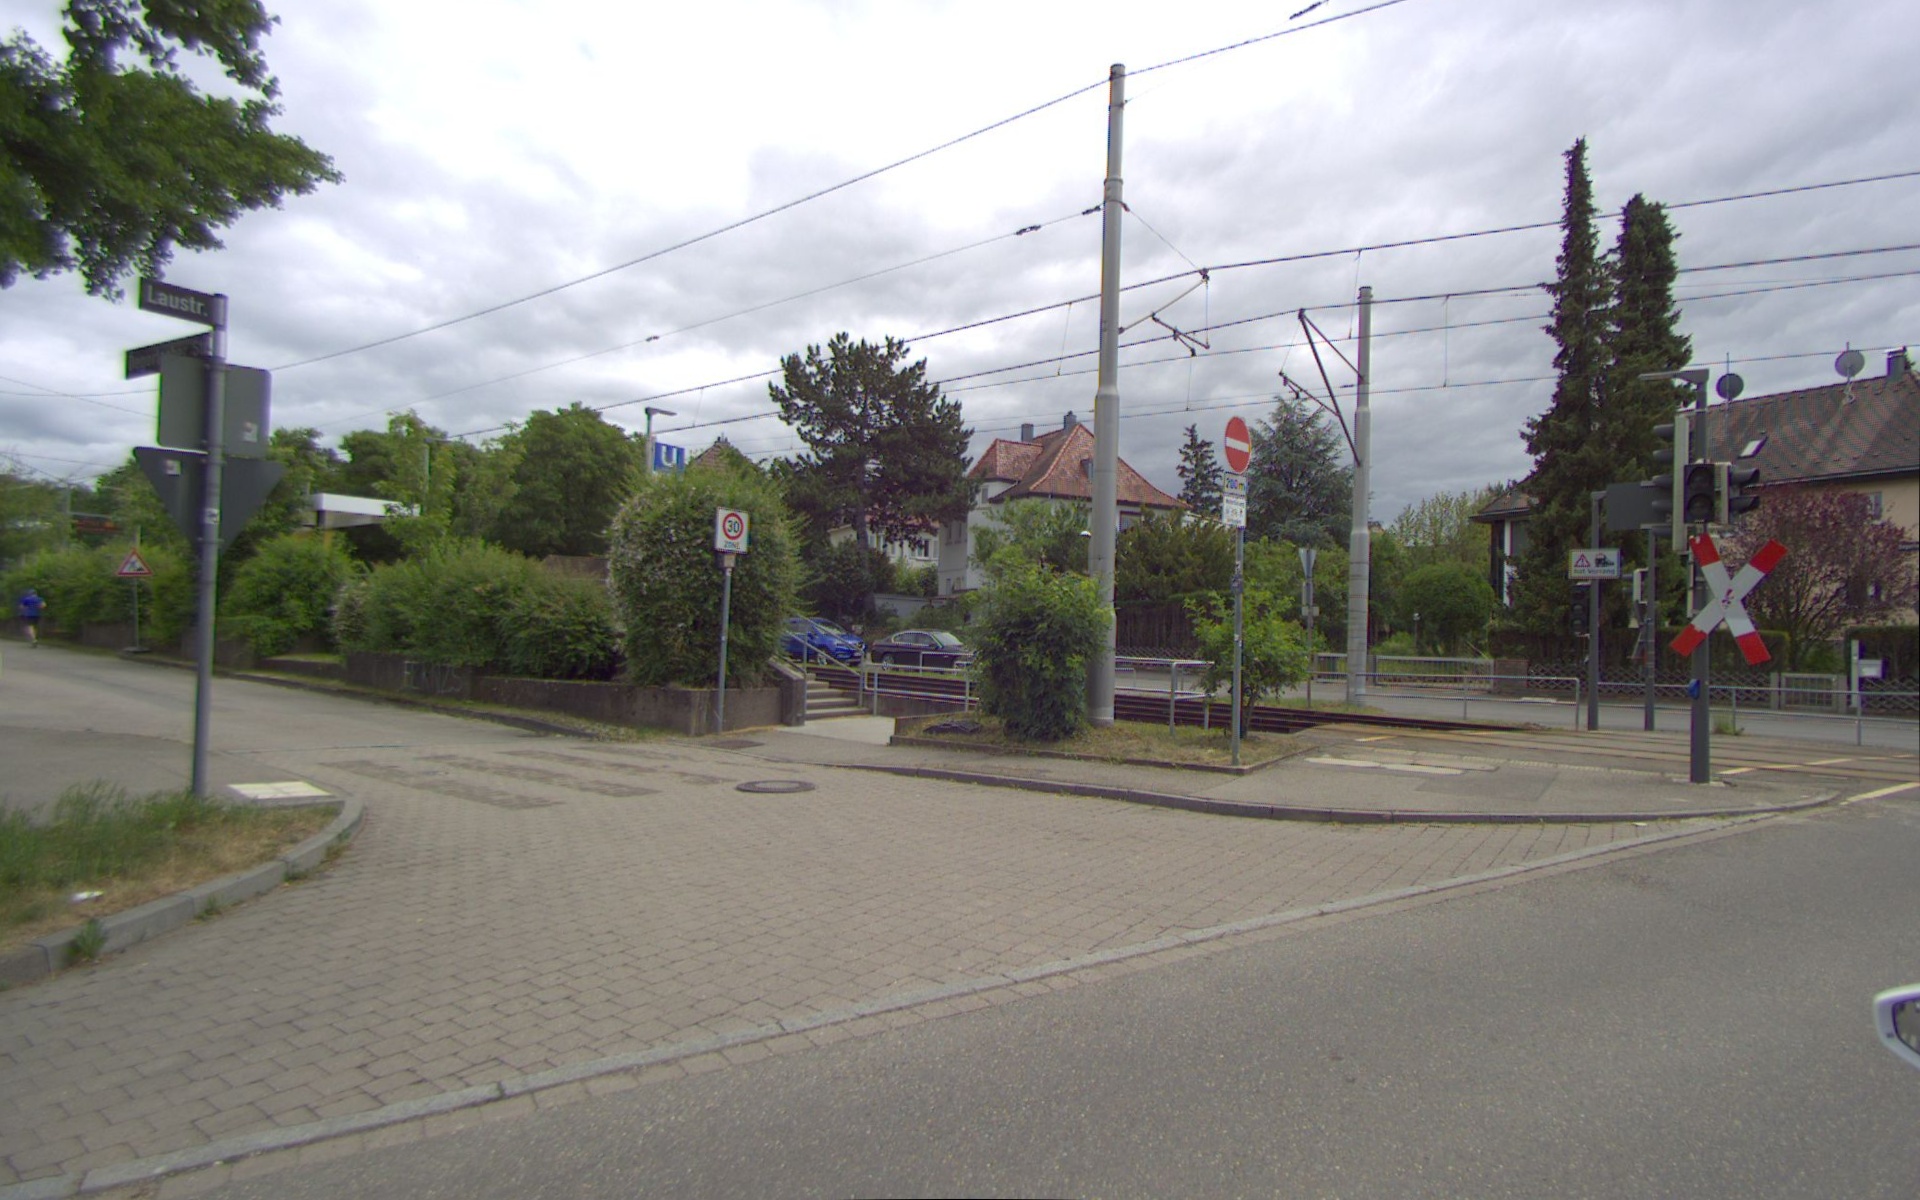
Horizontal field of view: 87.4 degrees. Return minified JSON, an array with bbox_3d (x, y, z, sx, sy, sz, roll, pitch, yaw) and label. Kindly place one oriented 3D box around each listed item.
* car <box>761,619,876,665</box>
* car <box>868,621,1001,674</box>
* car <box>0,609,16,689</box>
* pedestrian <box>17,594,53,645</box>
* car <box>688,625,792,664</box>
[{"bbox_3d":[-5.115,1.484,36.134,3.936,1.500,1.848,1,-1,37],"label":"car"},{"bbox_3d":[-0.855,1.522,32.873,4.051,1.521,1.817,1,-1,35],"label":"car"},{"bbox_3d":[-17.892,0.757,17.117,3.708,1.329,1.777,1,-2,33],"label":"car"},{"bbox_3d":[-29.170,0.606,31.663,0.654,1.550,0.642,2,-2,37],"label":"pedestrian"},{"bbox_3d":[-8.634,1.719,39.324,3.936,1.394,1.848,1,-1,37],"label":"car"}]
